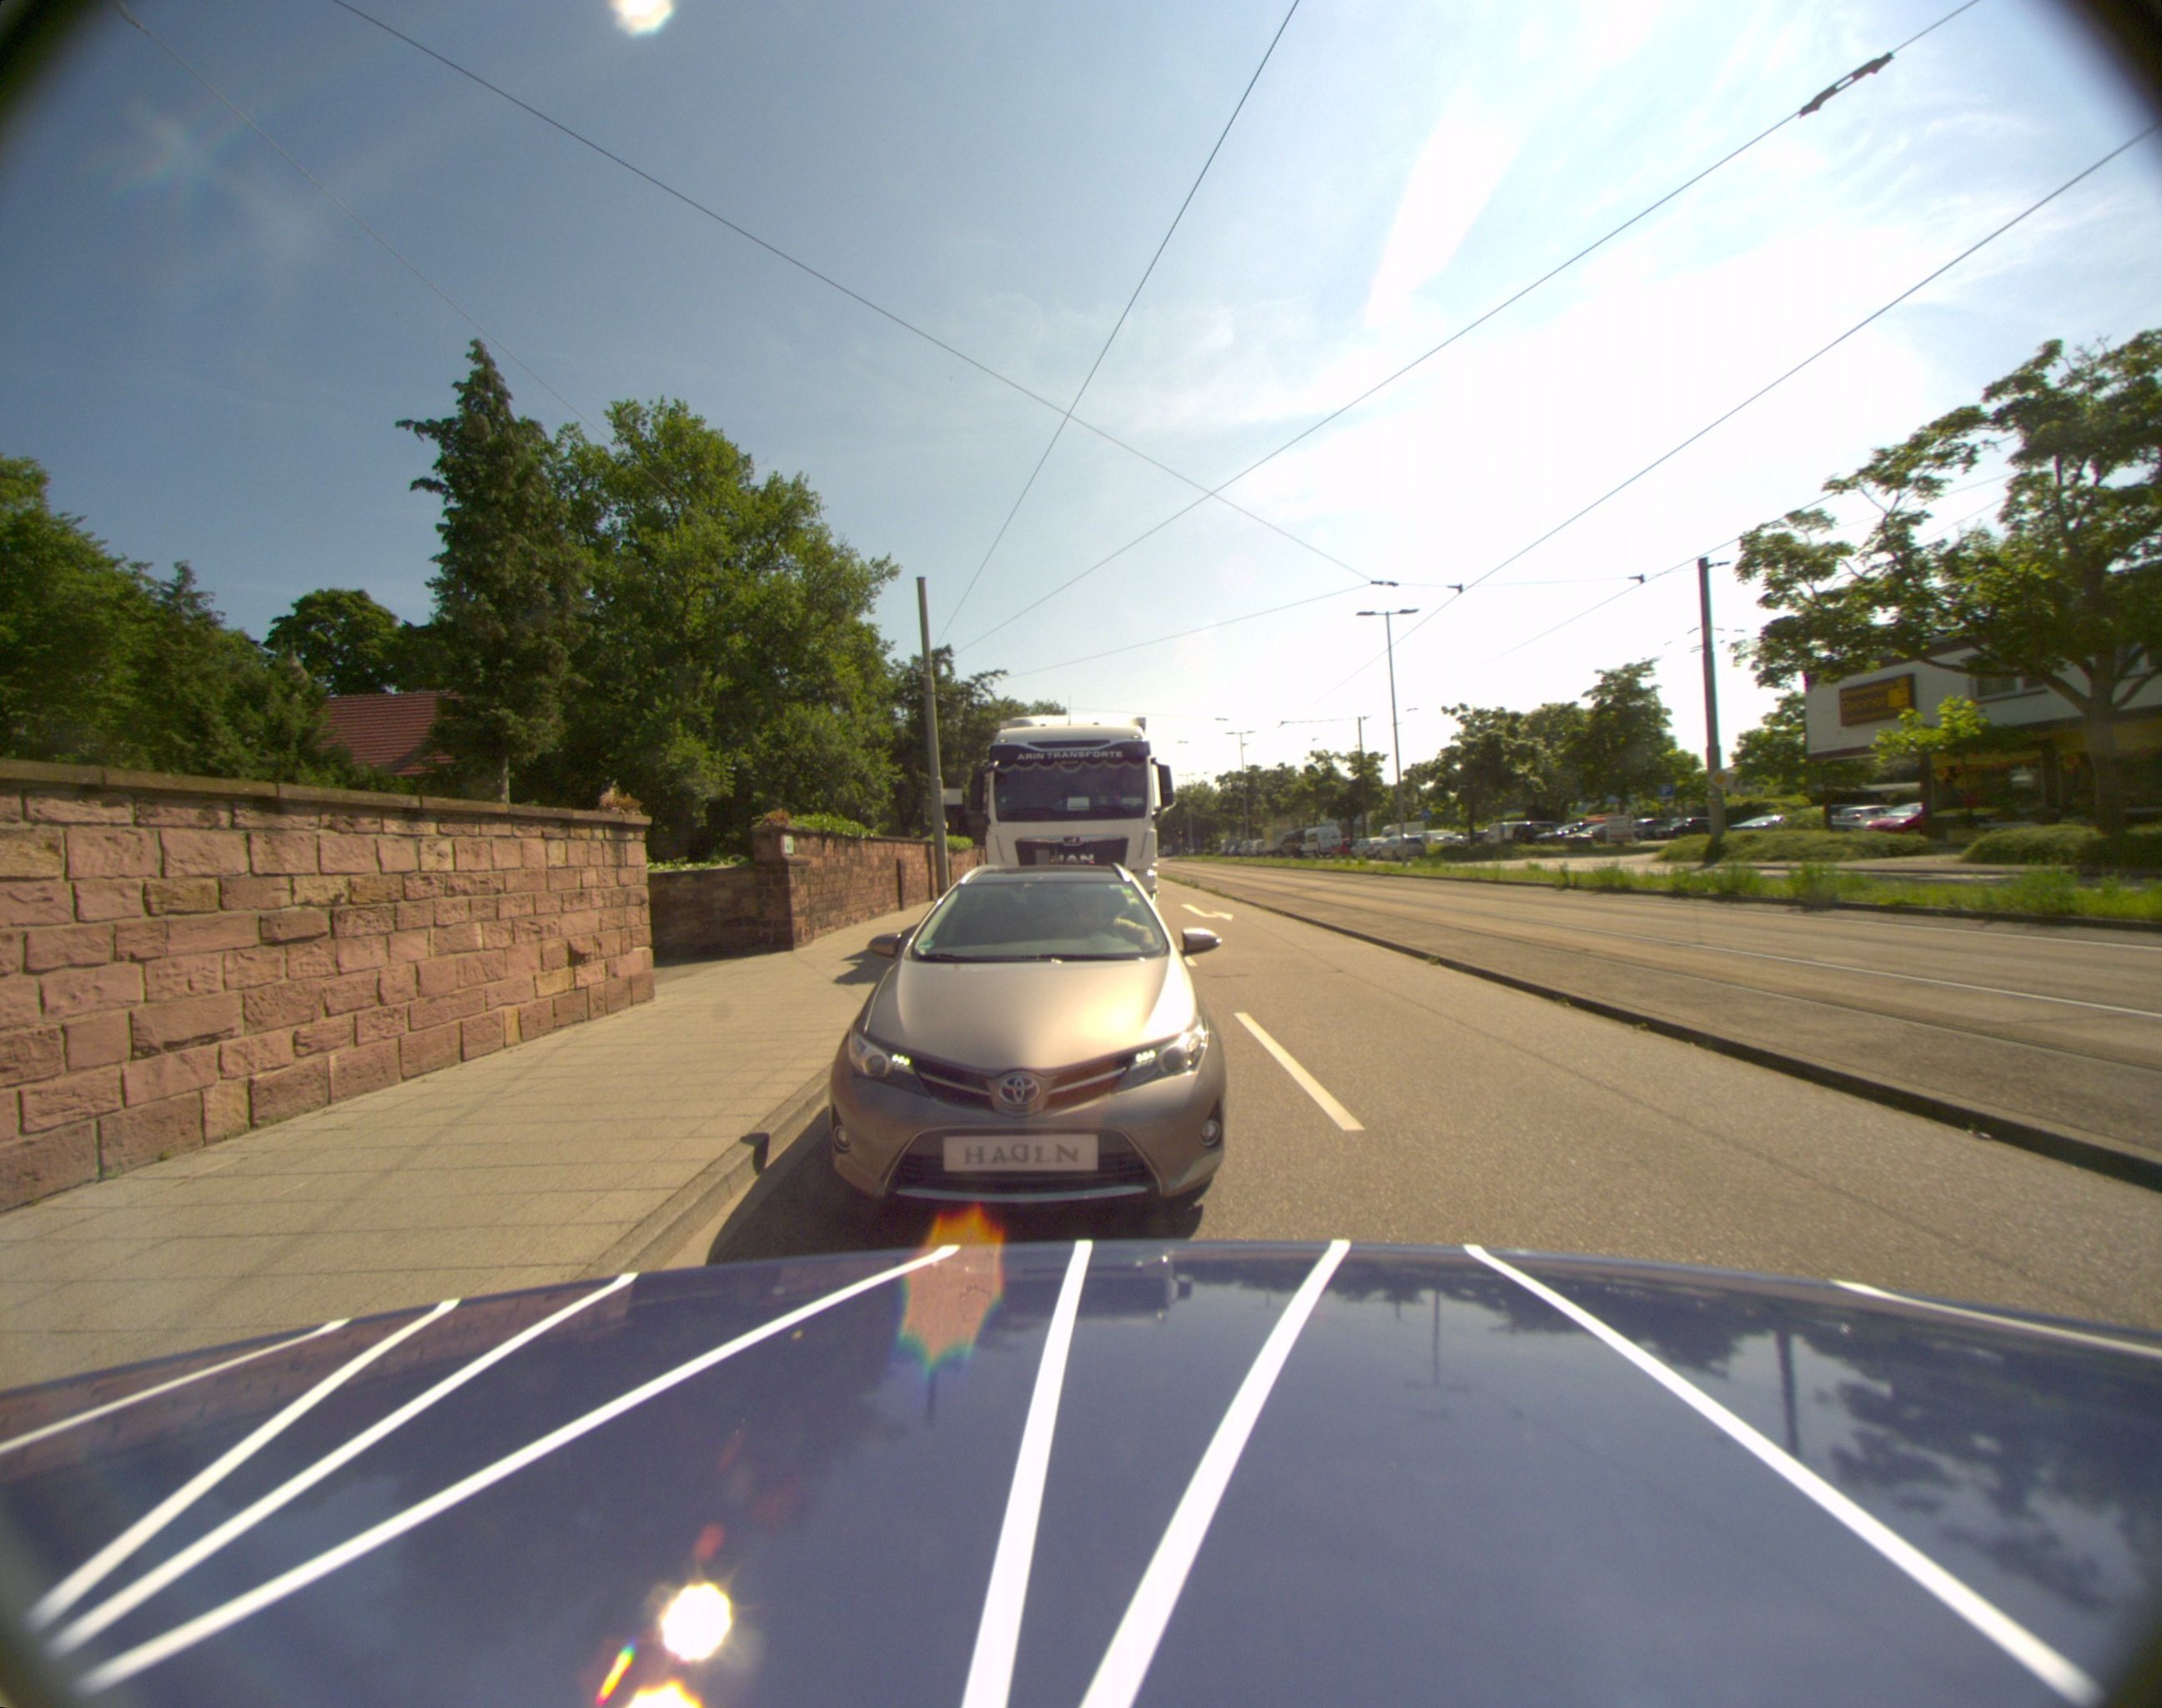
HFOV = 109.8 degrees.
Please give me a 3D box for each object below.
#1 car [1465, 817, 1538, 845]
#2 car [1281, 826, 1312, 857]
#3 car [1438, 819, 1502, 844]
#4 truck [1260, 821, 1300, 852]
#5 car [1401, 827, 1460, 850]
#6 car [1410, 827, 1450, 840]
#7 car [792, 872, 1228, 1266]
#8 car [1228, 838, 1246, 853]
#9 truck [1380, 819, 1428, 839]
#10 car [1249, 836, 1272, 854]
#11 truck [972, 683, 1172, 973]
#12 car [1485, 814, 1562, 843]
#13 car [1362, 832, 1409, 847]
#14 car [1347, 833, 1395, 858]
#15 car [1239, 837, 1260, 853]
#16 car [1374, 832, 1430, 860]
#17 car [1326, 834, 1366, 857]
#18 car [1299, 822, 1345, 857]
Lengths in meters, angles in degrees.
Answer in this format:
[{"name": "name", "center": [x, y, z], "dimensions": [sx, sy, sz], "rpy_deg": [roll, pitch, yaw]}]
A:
[{"name": "car", "center": [30.486, -1.661, 55.139], "dimensions": [4.117, 1.728, 1.990], "rpy_deg": [-3, 0, -2]}, {"name": "car", "center": [19.942, -1.160, 70.376], "dimensions": [1.502, 2.609, 4.007], "rpy_deg": [-6, 0, 1]}, {"name": "car", "center": [31.179, -1.809, 60.979], "dimensions": [4.117, 1.728, 1.990], "rpy_deg": [-3, 0, -2]}, {"name": "truck", "center": [20.551, -1.773, 78.808], "dimensions": [2.508, 2.917, 5.903], "rpy_deg": [-6, 0, 2]}, {"name": "car", "center": [31.108, -1.372, 67.881], "dimensions": [2.594, 1.800, 5.741], "rpy_deg": [-3, 0, 1]}, {"name": "car", "center": [43.648, -2.581, 95.123], "dimensions": [4.253, 1.327, 1.676], "rpy_deg": [-3, 0, 1]}, {"name": "car", "center": [-0.258, 0.891, 4.963], "dimensions": [1.654, 1.374, 4.000], "rpy_deg": [-2, 0, 0]}, {"name": "car", "center": [20.528, -1.046, 100.062], "dimensions": [1.502, 1.775, 3.687], "rpy_deg": [-6, 0, 0]}, {"name": "truck", "center": [44.704, -3.489, 105.246], "dimensions": [5.652, 2.367, 1.990], "rpy_deg": [-3, 1, -2]}, {"name": "car", "center": [20.594, -1.015, 87.352], "dimensions": [1.502, 1.793, 4.633], "rpy_deg": [-6, 0, 1]}, {"name": "truck", "center": [-0.035, -0.407, 15.083], "dimensions": [2.628, 3.906, 9.285], "rpy_deg": [-2, 1, 1]}, {"name": "car", "center": [30.648, -1.749, 52.669], "dimensions": [4.117, 1.728, 1.990], "rpy_deg": [-3, 0, -2]}, {"name": "car", "center": [32.242, -1.559, 80.399], "dimensions": [4.253, 1.327, 1.676], "rpy_deg": [-3, 0, 1]}, {"name": "car", "center": [20.399, -0.605, 53.647], "dimensions": [1.675, 1.524, 4.256], "rpy_deg": [-6, 0, 1]}, {"name": "car", "center": [20.884, -1.064, 94.211], "dimensions": [1.502, 1.835, 4.059], "rpy_deg": [-6, 0, 0]}, {"name": "car", "center": [20.247, -0.516, 48.160], "dimensions": [1.675, 1.524, 4.256], "rpy_deg": [-6, 0, 1]}, {"name": "car", "center": [20.424, -0.645, 58.745], "dimensions": [1.675, 1.524, 3.793], "rpy_deg": [-6, 0, 1]}, {"name": "car", "center": [20.226, -1.199, 63.979], "dimensions": [2.062, 2.638, 5.203], "rpy_deg": [-6, 0, 1]}]
